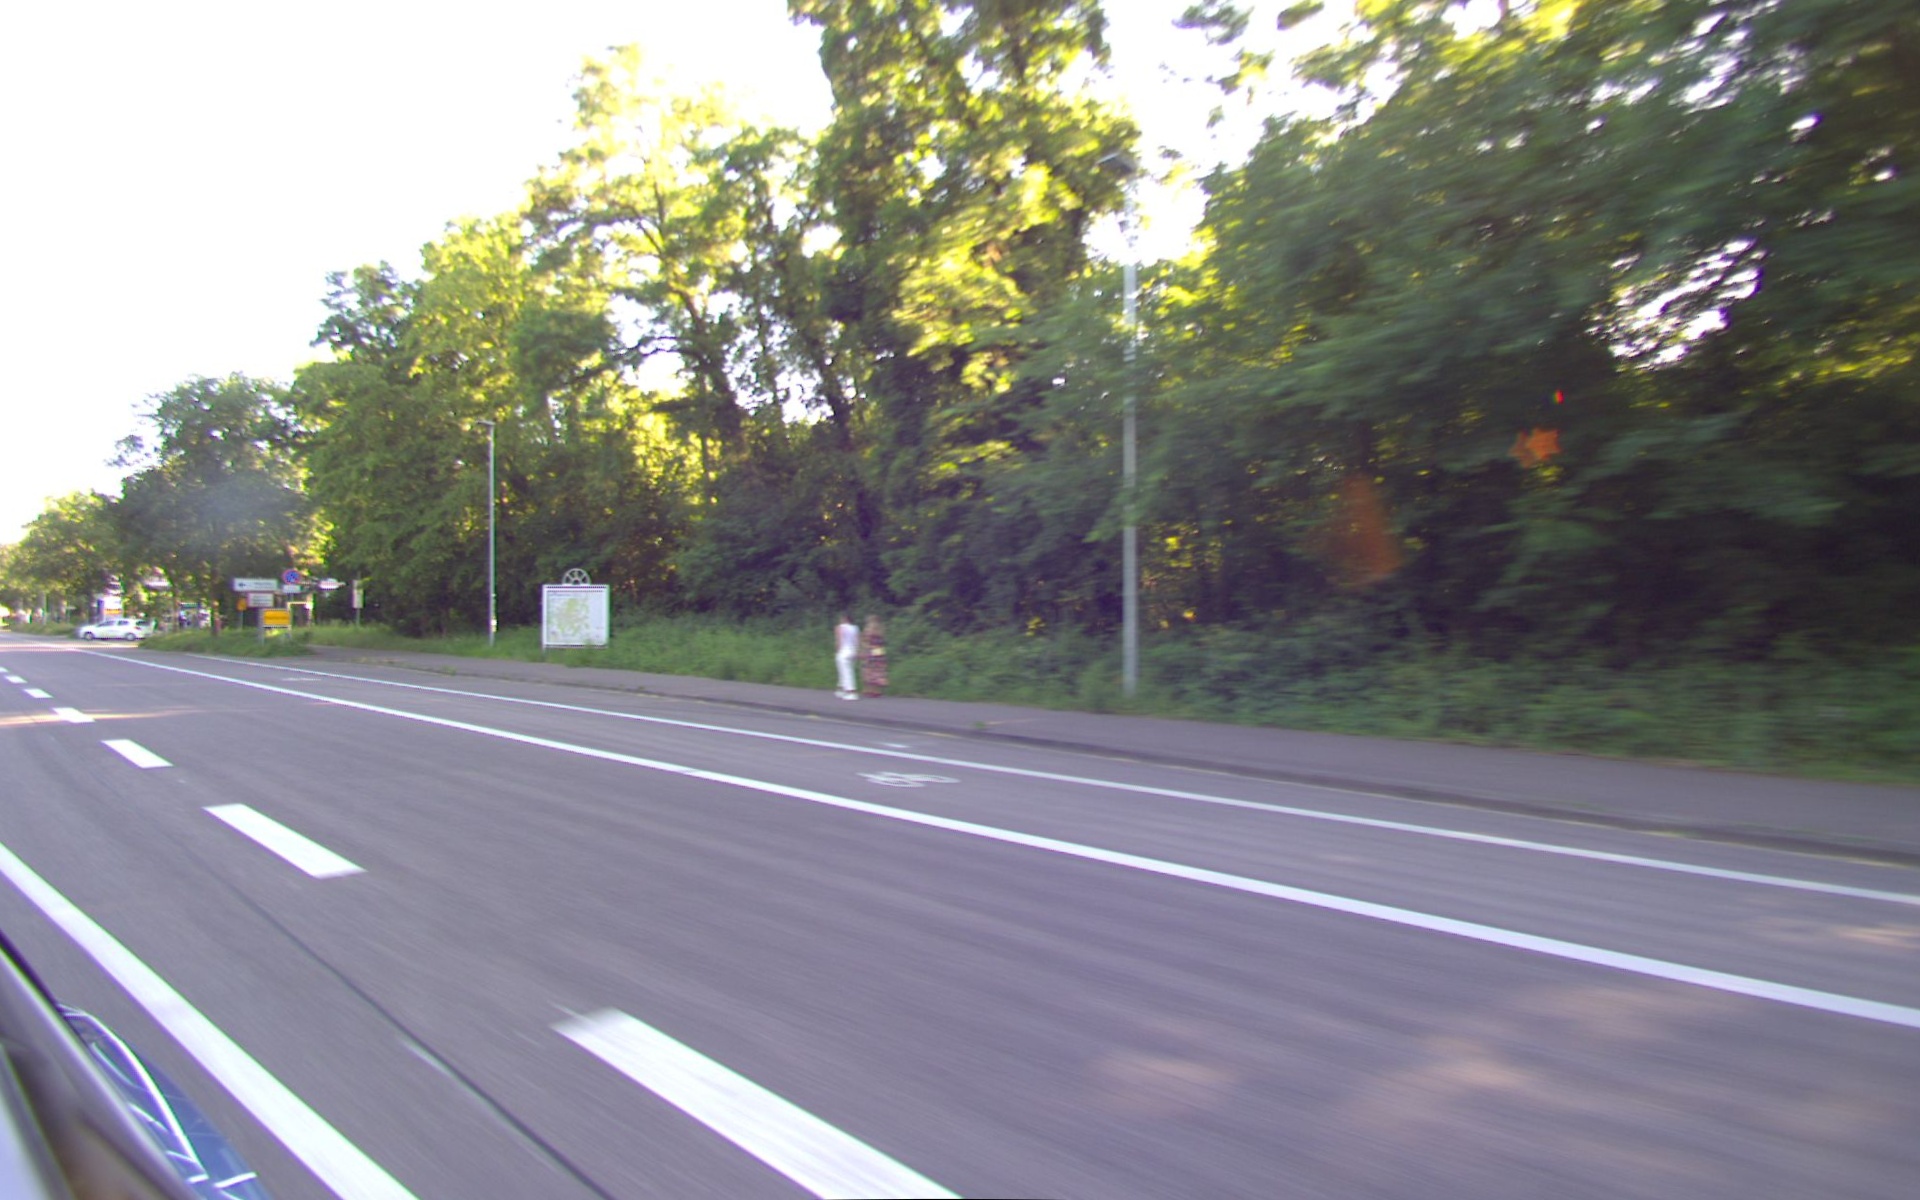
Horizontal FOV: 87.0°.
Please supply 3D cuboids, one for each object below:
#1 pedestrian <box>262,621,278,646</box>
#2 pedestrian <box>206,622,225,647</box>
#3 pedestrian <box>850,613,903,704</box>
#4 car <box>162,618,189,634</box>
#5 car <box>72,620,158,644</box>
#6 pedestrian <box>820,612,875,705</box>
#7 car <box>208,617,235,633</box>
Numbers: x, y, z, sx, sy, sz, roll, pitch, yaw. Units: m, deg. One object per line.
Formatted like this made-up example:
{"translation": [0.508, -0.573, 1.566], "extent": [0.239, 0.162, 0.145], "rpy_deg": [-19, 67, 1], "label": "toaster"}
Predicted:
{"translation": [-51.781, 2.511, 75.954], "extent": [0.820, 1.833, 0.738], "rpy_deg": [0, -1, -17], "label": "pedestrian"}
{"translation": [-54.936, 2.567, 74.699], "extent": [0.824, 1.833, 0.735], "rpy_deg": [0, -1, 6], "label": "pedestrian"}
{"translation": [-1.580, 1.079, 19.099], "extent": [0.666, 1.666, 0.791], "rpy_deg": [1, -2, -42], "label": "pedestrian"}
{"translation": [-82.343, 2.690, 106.197], "extent": [3.614, 1.653, 1.734], "rpy_deg": [-1, -2, 45], "label": "car"}
{"translation": [-55.174, 2.096, 66.137], "extent": [3.877, 1.537, 1.836], "rpy_deg": [0, -1, -14], "label": "car"}
{"translation": [-2.078, 1.058, 18.639], "extent": [0.666, 1.666, 0.791], "rpy_deg": [1, -2, -42], "label": "pedestrian"}
{"translation": [-78.722, 2.667, 107.817], "extent": [3.839, 1.653, 1.734], "rpy_deg": [-1, -2, 45], "label": "car"}
